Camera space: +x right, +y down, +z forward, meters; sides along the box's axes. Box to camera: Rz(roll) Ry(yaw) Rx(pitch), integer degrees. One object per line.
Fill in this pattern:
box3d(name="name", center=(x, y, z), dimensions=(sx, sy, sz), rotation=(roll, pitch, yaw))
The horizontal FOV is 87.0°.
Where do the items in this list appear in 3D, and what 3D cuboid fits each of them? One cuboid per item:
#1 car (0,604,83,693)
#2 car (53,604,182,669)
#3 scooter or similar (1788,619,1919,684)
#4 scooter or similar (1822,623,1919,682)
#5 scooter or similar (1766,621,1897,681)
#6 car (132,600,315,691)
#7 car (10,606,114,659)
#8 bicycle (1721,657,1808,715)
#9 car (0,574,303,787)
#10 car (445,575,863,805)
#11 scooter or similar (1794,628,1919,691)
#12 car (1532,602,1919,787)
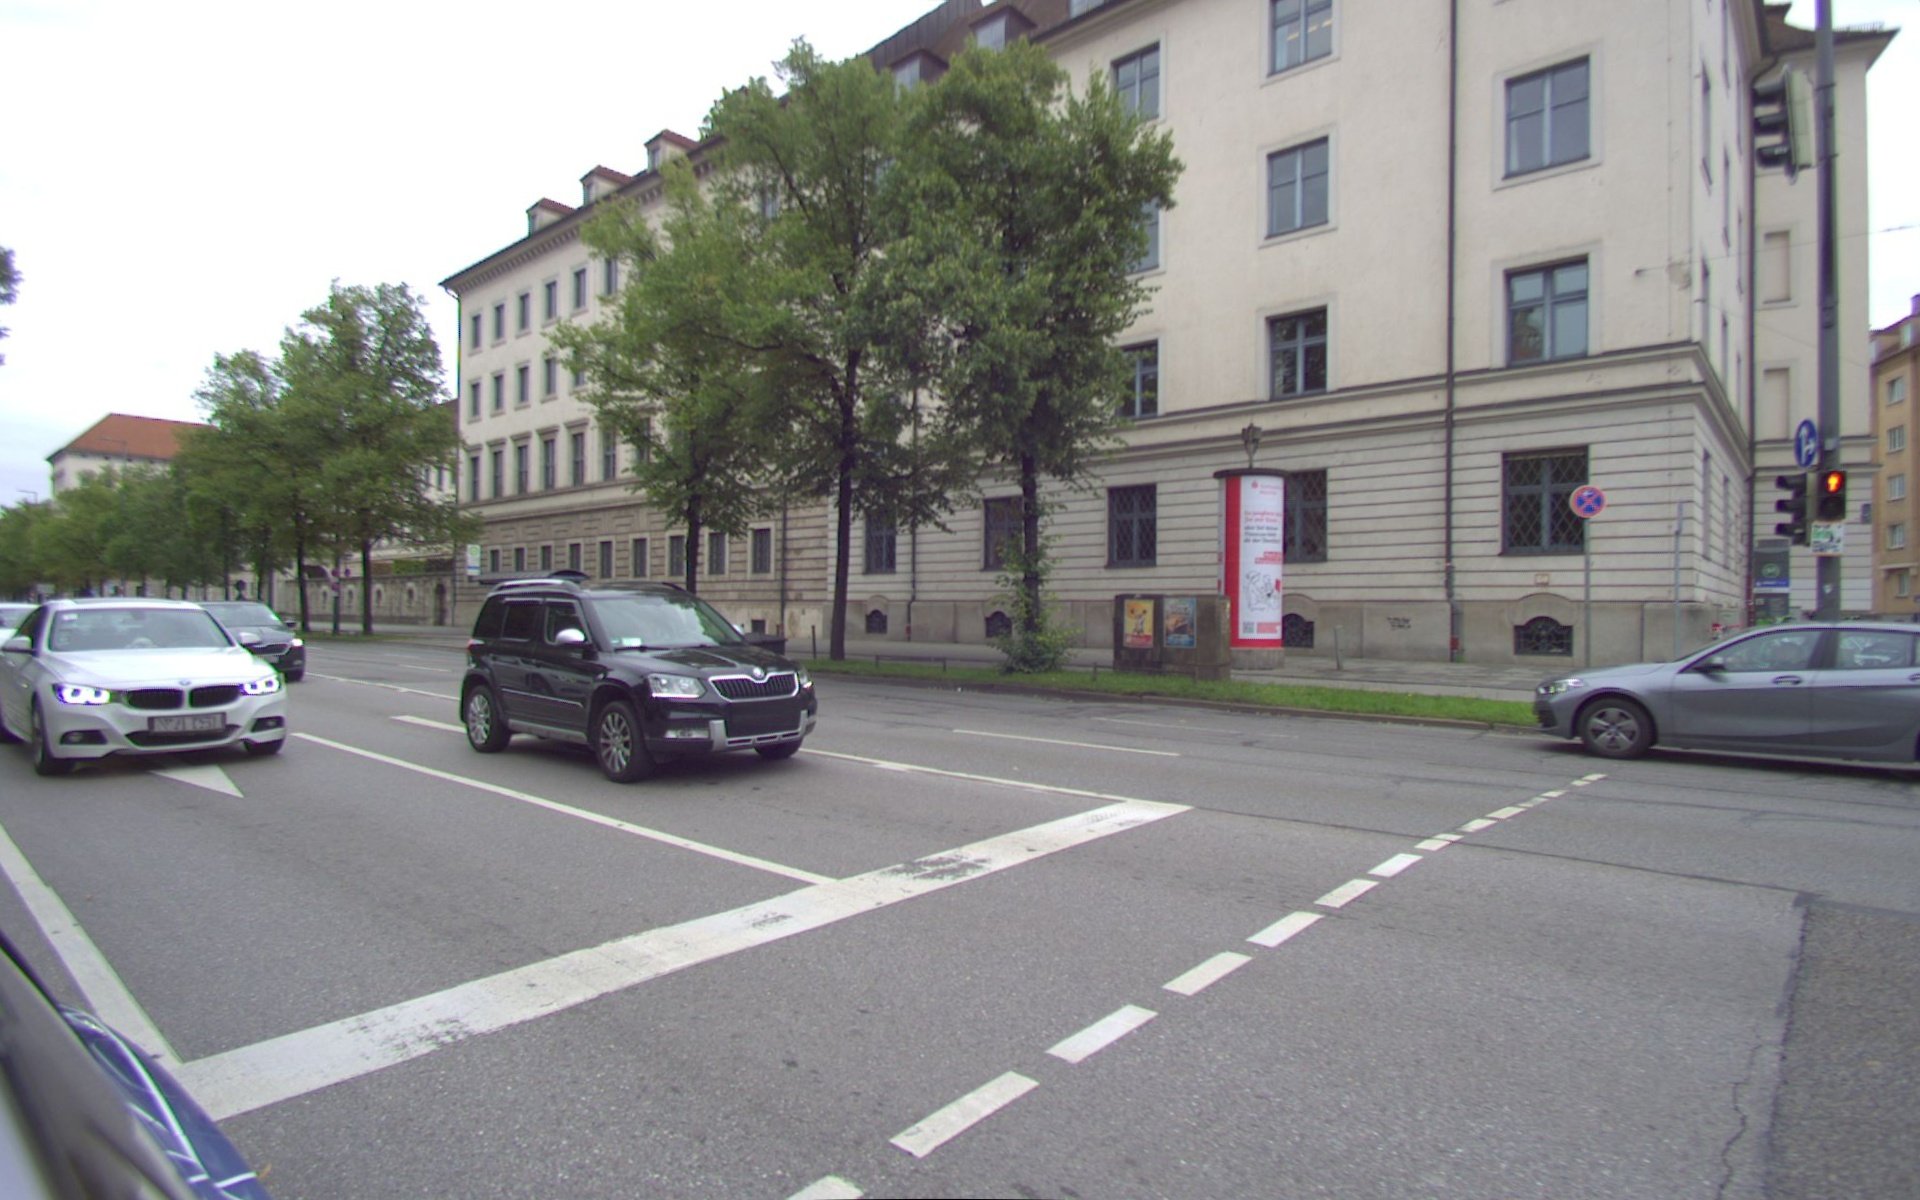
box3d(name="car", center=(-17.322, 0.811, 18.196), dimensions=(4.273, 1.458, 1.774), rotation=(0, -1, 41))
box3d(name="car", center=(-20.668, 0.837, 24.777), dimensions=(4.273, 1.458, 1.774), rotation=(0, -1, 41))
box3d(name="scooter or similar", center=(16.843, 0.941, 18.991), dimensions=(0.680, 1.127, 1.950), rotation=(-1, 0, -42))
box3d(name="scooter or similar", center=(19.365, 1.083, 21.248), dimensions=(1.901, 1.166, 0.681), rotation=(-1, 0, 42))
box3d(name="scooter or similar", center=(17.718, 1.011, 20.610), dimensions=(0.680, 1.127, 1.950), rotation=(-1, 0, -42))
box3d(name="car", center=(-13.380, 0.754, 18.304), dimensions=(4.273, 1.458, 1.774), rotation=(0, -1, 41))
box3d(name="car", center=(-26.691, 0.912, 30.034), dimensions=(4.273, 1.458, 1.774), rotation=(0, -1, 41))
box3d(name="bicycle", center=(14.899, 1.578, 18.769), dimensions=(0.399, 0.954, 1.281), rotation=(-1, 0, -12))
box3d(name="car", center=(-8.437, 0.650, 10.174), dimensions=(5.024, 1.649, 1.774), rotation=(0, -1, 41))
box3d(name="car", center=(-2.955, 0.664, 9.283), dimensions=(4.203, 1.649, 1.704), rotation=(0, -1, 41))
box3d(name="scooter or similar", center=(17.483, 1.128, 19.651), dimensions=(1.947, 1.127, 0.681), rotation=(-1, 0, 42))
box3d(name="car", center=(8.283, 0.836, 9.908), dimensions=(4.443, 1.598, 1.704), rotation=(0, -1, 41))
